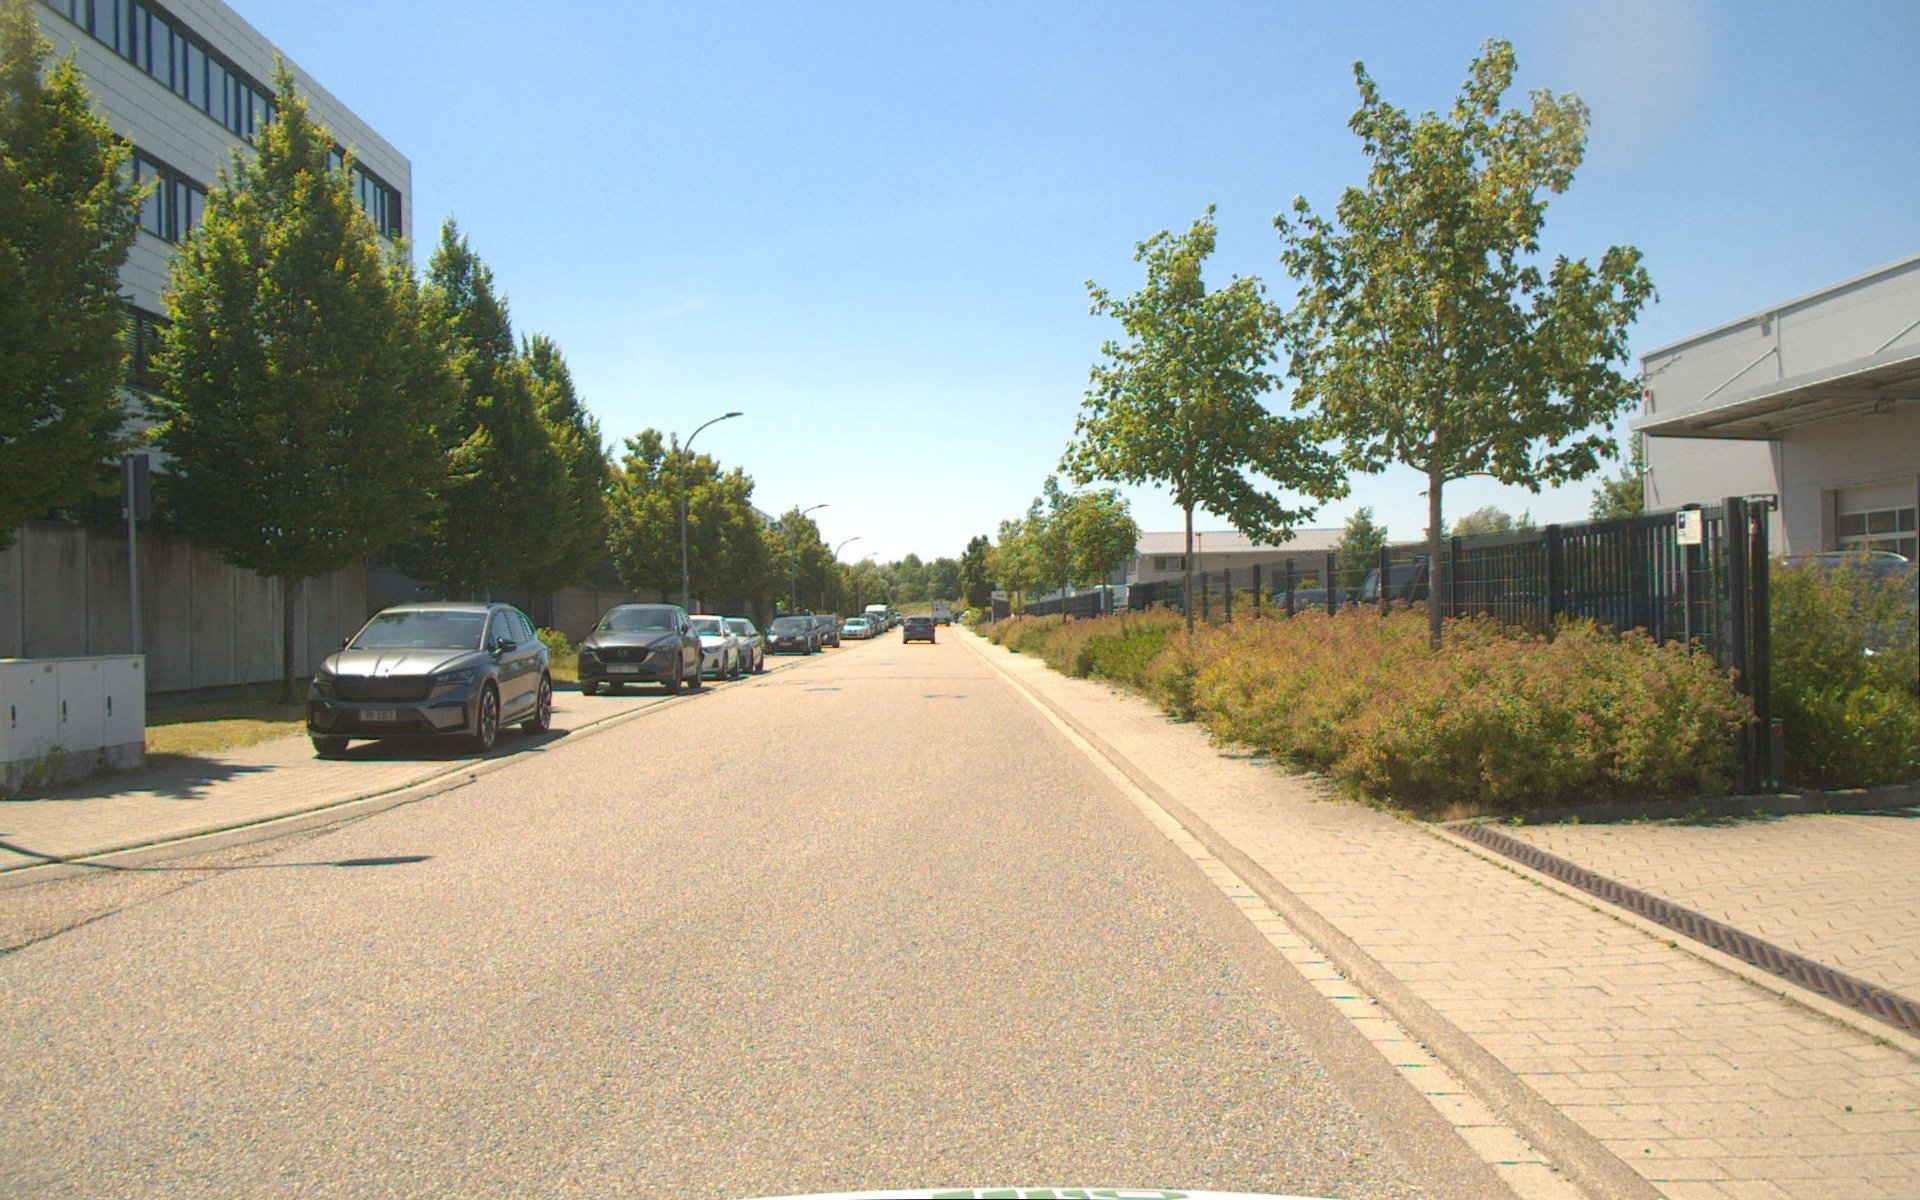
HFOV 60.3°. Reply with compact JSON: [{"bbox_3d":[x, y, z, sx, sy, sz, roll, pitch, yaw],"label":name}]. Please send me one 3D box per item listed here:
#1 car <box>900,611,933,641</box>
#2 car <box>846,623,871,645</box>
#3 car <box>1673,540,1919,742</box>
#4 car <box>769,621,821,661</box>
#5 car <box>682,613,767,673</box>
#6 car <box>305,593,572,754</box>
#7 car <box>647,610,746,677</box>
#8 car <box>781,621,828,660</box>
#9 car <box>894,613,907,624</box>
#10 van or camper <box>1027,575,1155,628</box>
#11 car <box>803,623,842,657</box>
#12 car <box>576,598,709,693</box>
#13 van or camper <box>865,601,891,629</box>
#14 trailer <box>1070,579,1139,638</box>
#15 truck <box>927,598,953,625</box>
[{"bbox_3d":[-2.421,1.466,92.785,1.753,1.652,3.807,1,-1,-1],"label":"car"},{"bbox_3d":[-7.167,2.433,117.081,1.686,1.502,3.854,-1,-1,-3],"label":"car"},{"bbox_3d":[8.118,0.279,14.867,1.773,1.579,3.576,-3,0,-1],"label":"car"},{"bbox_3d":[-6.632,1.627,66.731,1.735,1.456,4.200,-1,0,-1],"label":"car"},{"bbox_3d":[-6.221,1.108,44.072,1.735,1.456,3.939,-1,0,-1],"label":"car"},{"bbox_3d":[-5.885,0.806,19.235,1.735,1.616,4.479,-1,-1,-1],"label":"car"},{"bbox_3d":[-6.195,0.999,39.332,1.735,1.456,4.200,-1,0,-1],"label":"car"},{"bbox_3d":[-6.777,1.759,72.498,1.735,1.640,4.849,-1,-1,-2],"label":"car"},{"bbox_3d":[-8.484,2.578,236.016,1.762,1.513,4.252,-1,-1,1],"label":"car"},{"bbox_3d":[7.104,0.108,90.128,6.621,2.630,2.634,-2,-1,-2],"label":"van or camper"},{"bbox_3d":[-7.028,2.051,84.881,1.735,1.640,4.245,-1,-1,-2],"label":"car"},{"bbox_3d":[-6.027,0.817,31.866,1.735,1.652,4.581,-1,0,-1],"label":"car"},{"bbox_3d":[-7.913,1.458,159.419,2.035,2.527,6.131,1,-1,1],"label":"van or camper"},{"bbox_3d":[6.420,0.385,73.780,2.767,2.445,1.418,-3,-1,-5],"label":"trailer"},{"bbox_3d":[-2.290,1.333,189.500,2.873,3.026,6.417,1,-1,-1],"label":"truck"}]
